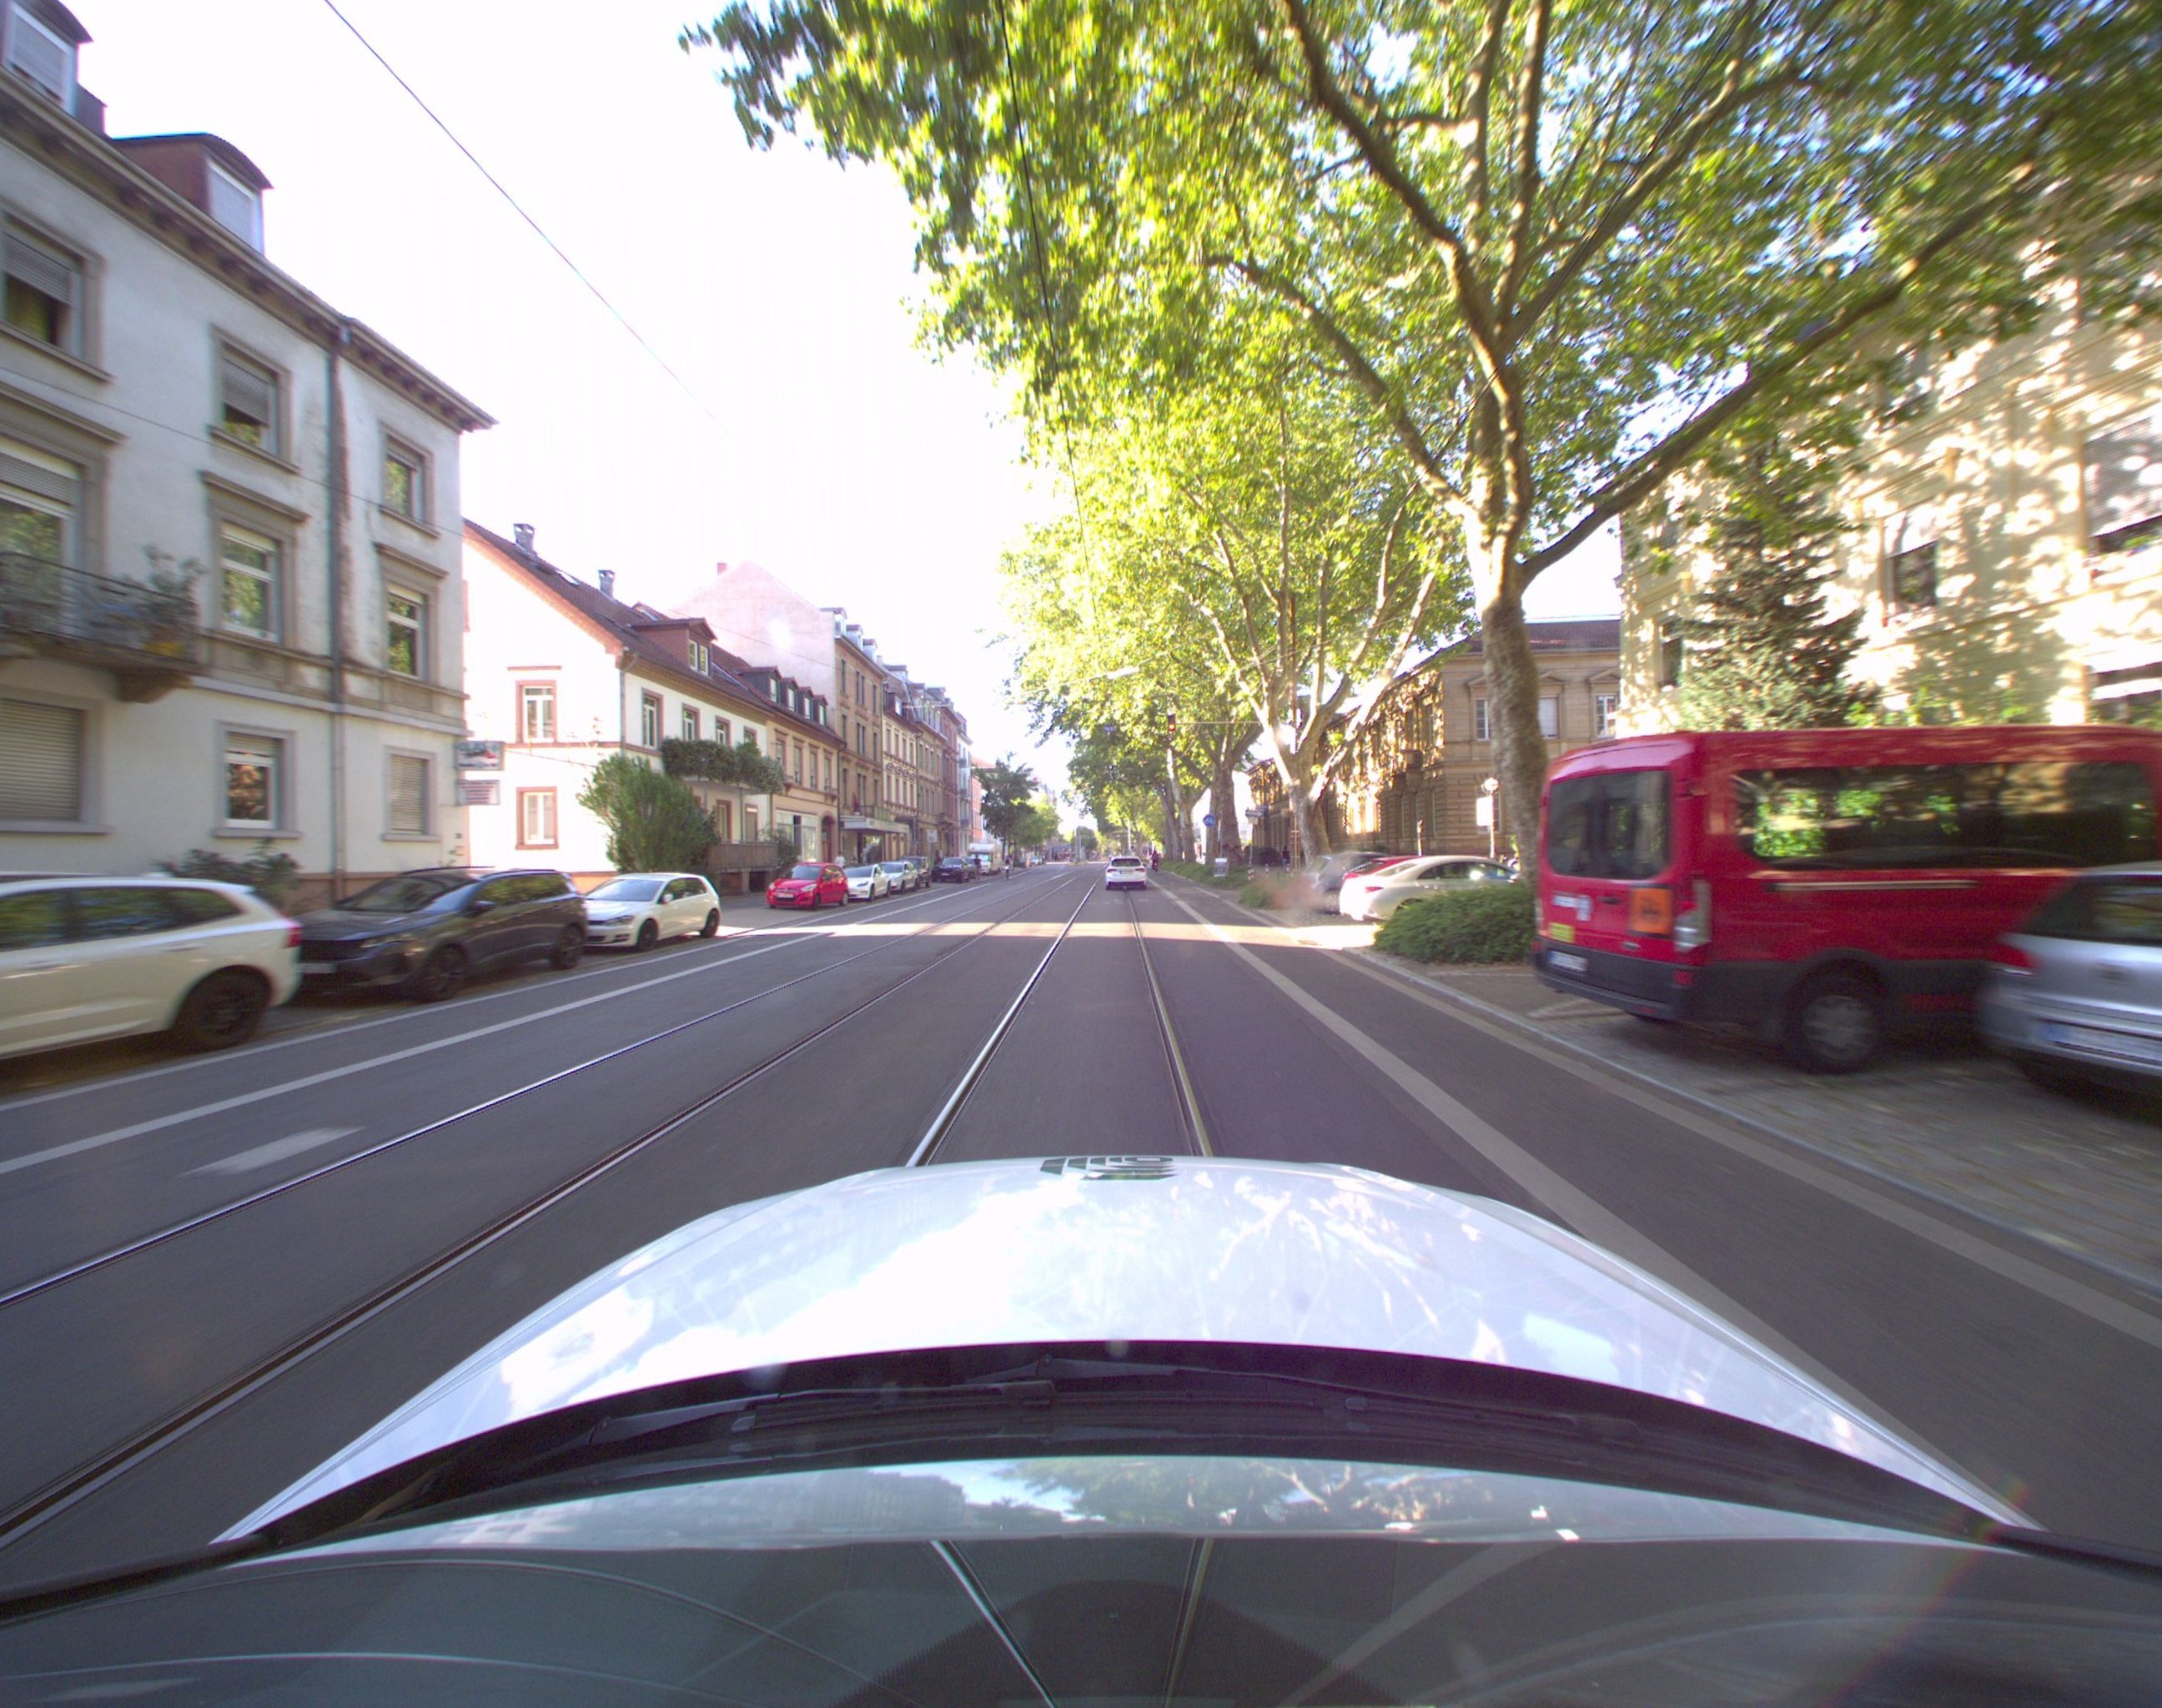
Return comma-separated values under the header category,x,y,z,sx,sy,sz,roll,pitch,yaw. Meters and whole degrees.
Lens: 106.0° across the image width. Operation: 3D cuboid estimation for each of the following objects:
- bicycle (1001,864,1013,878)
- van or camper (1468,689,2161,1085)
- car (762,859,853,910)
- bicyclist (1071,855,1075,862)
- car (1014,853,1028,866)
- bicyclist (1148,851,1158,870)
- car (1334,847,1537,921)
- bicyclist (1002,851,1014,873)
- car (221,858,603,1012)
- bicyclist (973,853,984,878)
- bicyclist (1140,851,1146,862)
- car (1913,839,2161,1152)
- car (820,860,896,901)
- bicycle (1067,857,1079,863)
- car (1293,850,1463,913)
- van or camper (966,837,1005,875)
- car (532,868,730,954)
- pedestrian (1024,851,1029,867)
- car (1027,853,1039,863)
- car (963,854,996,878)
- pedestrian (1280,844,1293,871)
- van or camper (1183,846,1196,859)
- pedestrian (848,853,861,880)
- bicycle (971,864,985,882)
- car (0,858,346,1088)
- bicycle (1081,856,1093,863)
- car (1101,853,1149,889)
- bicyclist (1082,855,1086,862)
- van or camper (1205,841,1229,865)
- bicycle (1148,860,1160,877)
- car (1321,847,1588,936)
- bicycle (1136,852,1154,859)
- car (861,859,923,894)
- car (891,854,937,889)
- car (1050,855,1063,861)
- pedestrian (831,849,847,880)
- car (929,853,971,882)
category,x,y,z,sx,sy,sz,roll,pitch,yaw
bicycle,-5.100,1.173,56.477,0.497,0.943,1.923,-3,0,3
van or camper,6.673,0.146,6.746,5.798,2.519,2.287,-3,1,-1
car,-9.074,0.965,27.285,1.561,1.562,3.454,-1,0,5
bicyclist,-1.844,0.891,179.453,0.635,1.522,0.603,-2,1,-33
car,-8.329,0.794,112.729,1.636,1.726,3.784,0,0,0
bicyclist,5.245,0.454,59.021,0.676,1.339,0.525,0,-1,1
car,7.742,0.634,17.992,3.744,1.387,1.678,-3,0,-5
bicyclist,-5.051,0.552,56.441,0.635,1.503,1.070,-2,-1,2
car,-9.129,0.948,11.789,1.853,1.703,4.653,-1,0,-4
bicyclist,-6.742,0.768,53.565,0.533,1.634,0.897,-3,-1,3
bicyclist,9.528,0.382,125.448,0.731,1.589,0.589,-1,0,13
car,7.243,0.662,4.463,3.724,1.530,1.668,-2,0,-2
car,-8.838,0.995,32.714,1.821,1.502,4.686,0,0,-1
bicycle,-1.843,1.274,179.493,2.699,1.327,0.609,-1,0,-33
car,7.442,0.663,20.673,3.737,1.508,1.682,0,0,1
van or camper,-8.413,0.179,72.420,2.207,3.140,7.119,0,0,3
car,-9.141,1.081,17.006,1.681,1.477,4.259,0,0,1
pedestrian,-7.029,0.629,105.095,0.598,2.002,0.751,0,0,6
car,-7.966,0.628,135.680,1.788,1.726,3.784,0,0,0
car,-7.748,0.924,62.665,1.958,1.781,4.470,0,0,0
pedestrian,12.443,0.213,49.238,0.642,1.633,0.876,0,-1,21
van or camper,20.305,-0.277,152.292,1.986,2.343,4.002,0,0,2
pedestrian,-12.159,0.668,43.776,0.636,1.460,0.654,0,-1,-15
bicycle,-6.740,1.236,53.435,0.482,1.047,2.041,-3,0,3
car,-9.032,0.924,6.504,1.849,1.703,4.765,-1,0,2
bicycle,1.266,1.237,181.126,2.699,1.327,0.609,-1,0,-33
car,1.869,0.707,35.280,1.837,1.480,3.837,0,0,-1
bicyclist,0.668,0.988,180.737,0.635,1.522,0.603,-2,1,-33
van or camper,14.405,-0.136,86.701,2.018,2.464,5.113,0,0,3
bicycle,5.241,1.052,58.917,0.677,1.155,2.965,0,0,1
car,6.995,0.682,15.603,4.268,1.417,1.761,-3,0,2
bicycle,9.807,0.268,125.356,2.749,0.999,0.595,0,-1,15
car,-8.779,1.007,38.153,1.821,1.502,4.450,0,0,0
car,-8.654,0.893,42.437,1.550,1.732,3.686,0,0,0
car,-7.730,1.244,256.643,3.773,1.818,1.807,0,0,7
pedestrian,-12.919,0.578,43.554,0.773,1.634,0.654,0,-1,-15
car,-8.660,0.866,54.356,1.958,1.781,4.936,2,0,0
